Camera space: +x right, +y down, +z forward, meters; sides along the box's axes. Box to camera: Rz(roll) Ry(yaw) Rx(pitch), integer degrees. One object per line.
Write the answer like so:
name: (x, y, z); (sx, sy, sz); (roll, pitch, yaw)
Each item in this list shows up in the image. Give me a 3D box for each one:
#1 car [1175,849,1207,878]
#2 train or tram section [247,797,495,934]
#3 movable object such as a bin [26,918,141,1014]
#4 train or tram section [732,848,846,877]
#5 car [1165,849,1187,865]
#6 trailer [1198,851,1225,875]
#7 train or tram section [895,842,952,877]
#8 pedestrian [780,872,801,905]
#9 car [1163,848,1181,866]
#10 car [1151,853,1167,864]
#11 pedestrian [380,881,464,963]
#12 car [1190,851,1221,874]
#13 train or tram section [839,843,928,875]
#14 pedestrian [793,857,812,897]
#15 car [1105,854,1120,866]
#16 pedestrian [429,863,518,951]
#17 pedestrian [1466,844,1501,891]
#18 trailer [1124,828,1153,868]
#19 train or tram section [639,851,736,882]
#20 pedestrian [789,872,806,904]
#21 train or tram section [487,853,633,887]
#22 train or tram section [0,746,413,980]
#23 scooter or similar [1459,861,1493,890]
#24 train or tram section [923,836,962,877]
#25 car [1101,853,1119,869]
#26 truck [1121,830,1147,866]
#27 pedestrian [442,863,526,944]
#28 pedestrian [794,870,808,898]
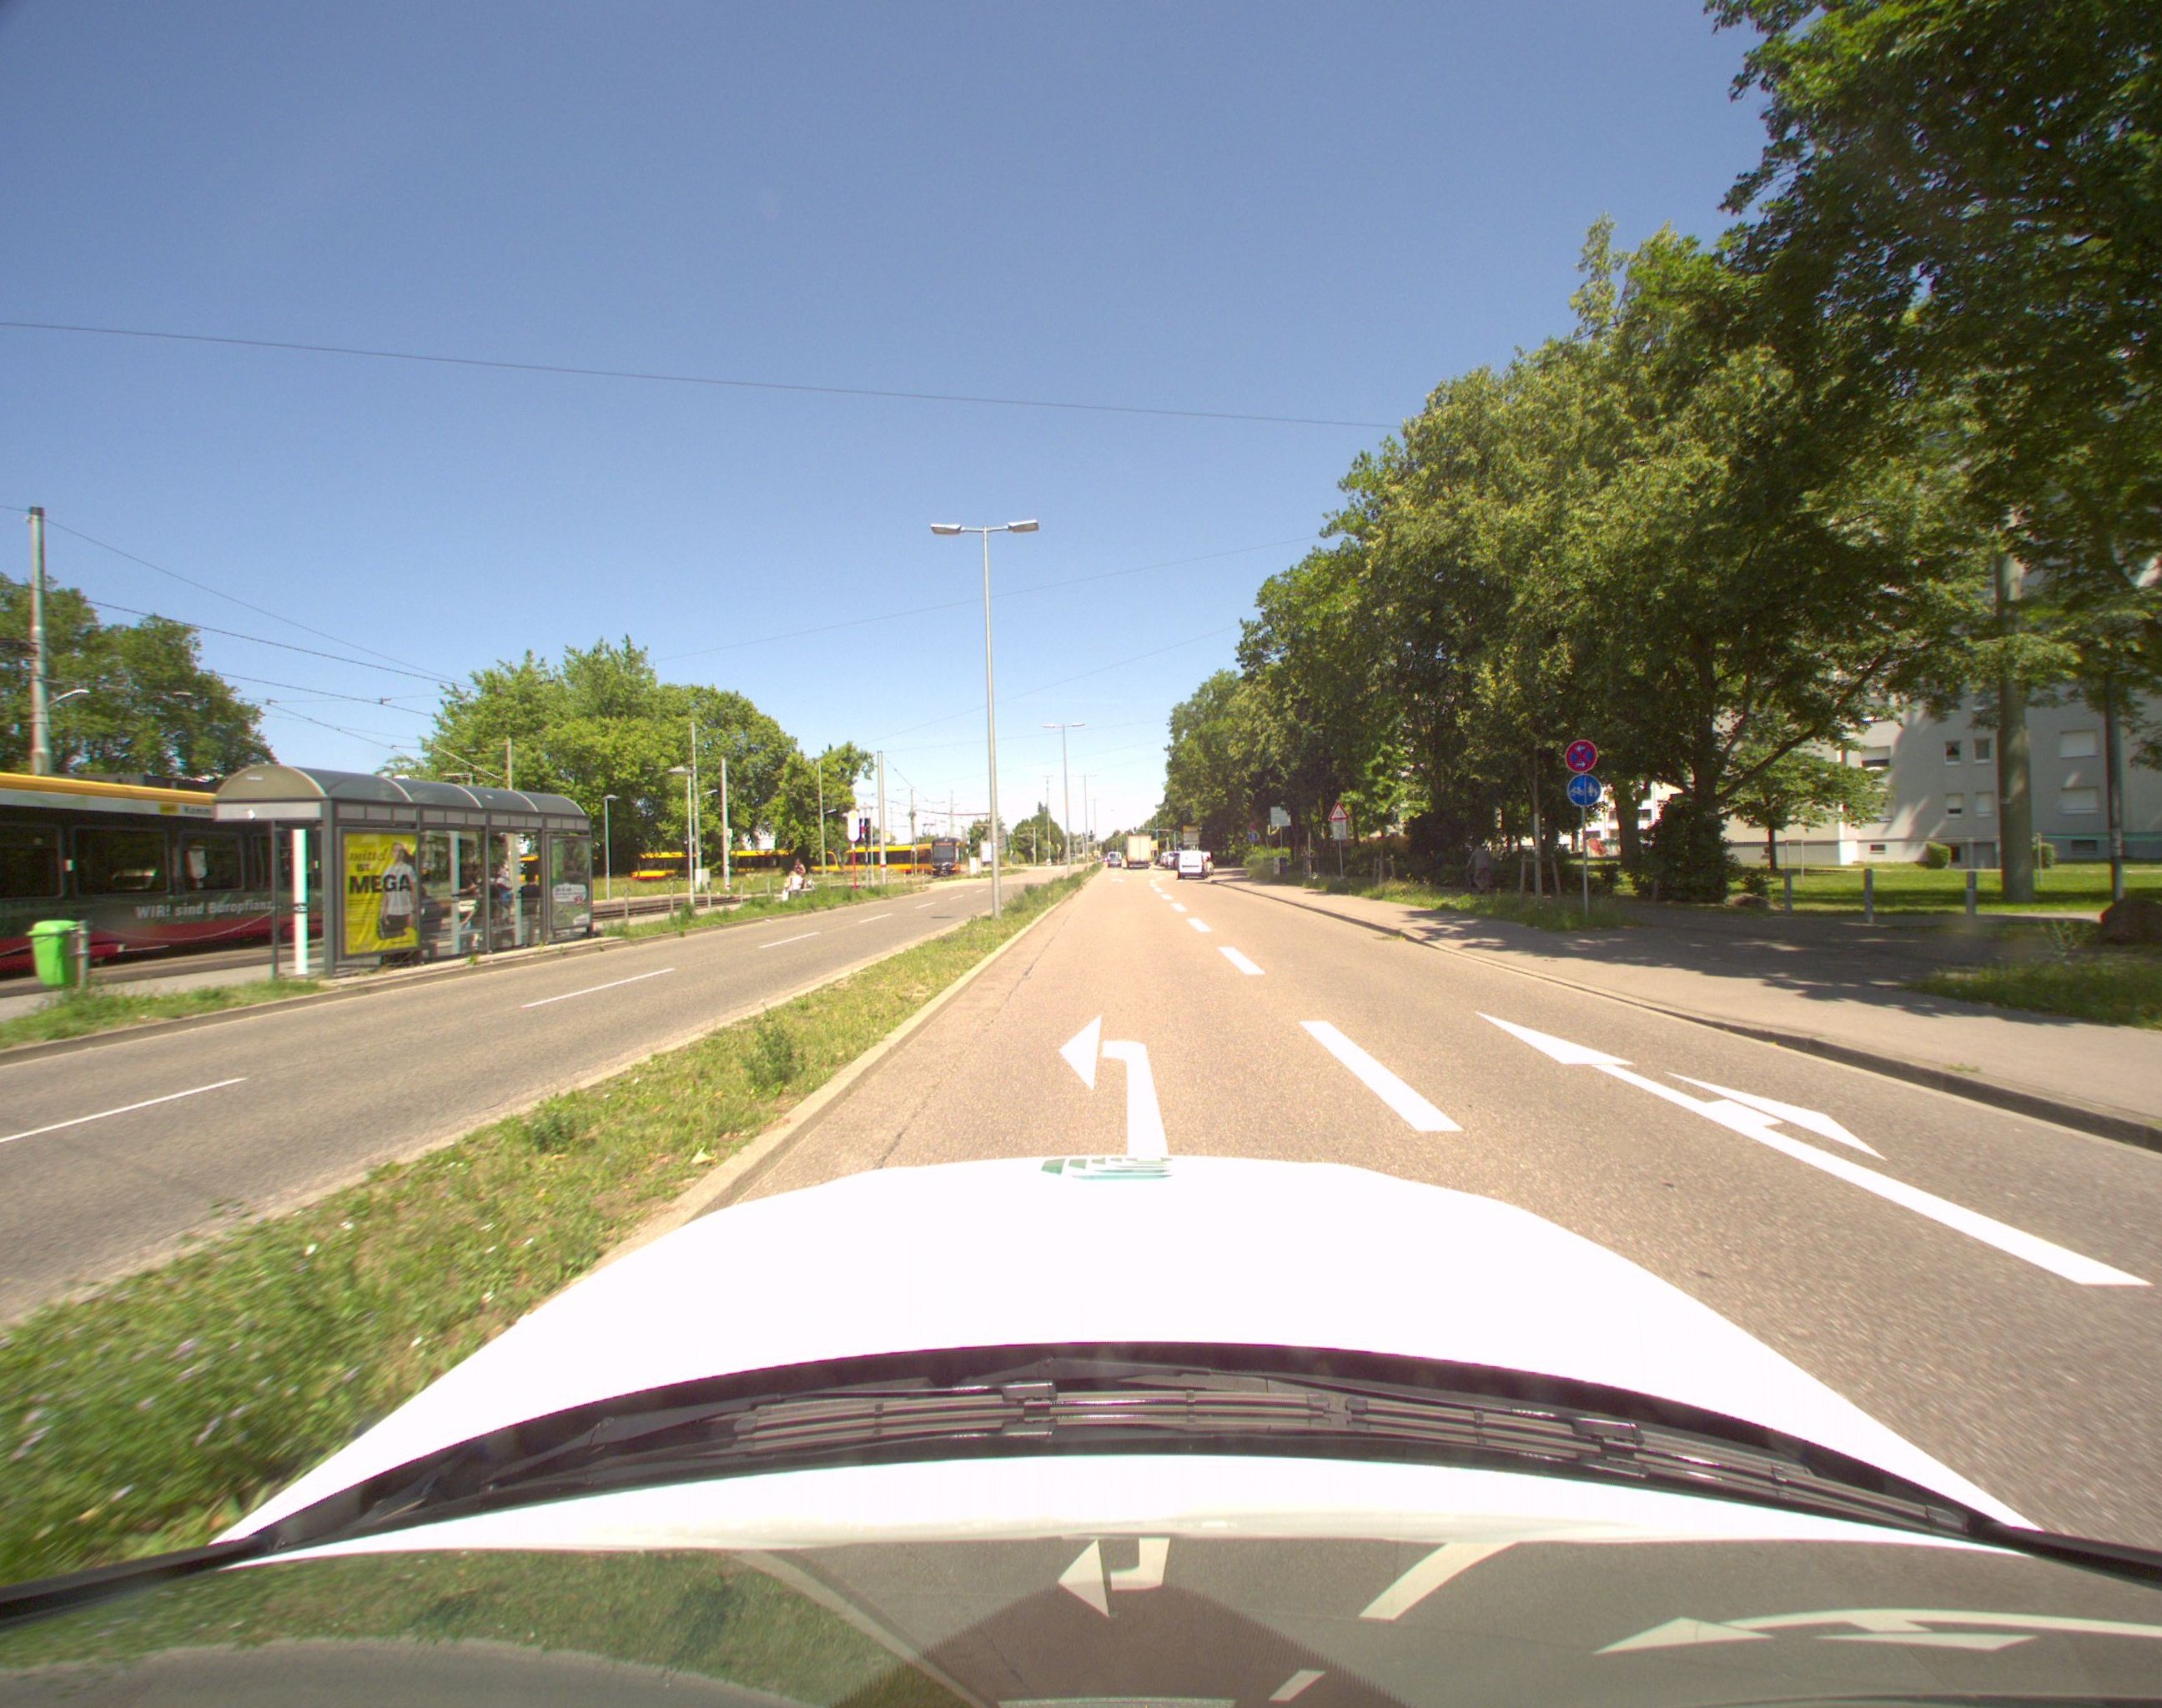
car: (6.951, 0.570, 51.725); (1.702, 1.747, 4.432); (0, 0, 4)
train or tram section: (-23.221, 0.292, 27.718); (3.059, 3.624, 12.348); (0, 0, -25)
movable object such as a bin: (-11.249, 1.244, 9.204); (0.480, 0.978, 0.644); (-1, 0, -2)
train or tram section: (-35.517, 1.032, 99.474); (12.685, 3.466, 3.042); (0, 0, -5)
car: (9.601, 0.309, 82.901); (1.851, 1.549, 3.888); (0, 0, 1)
trailer: (9.194, 0.599, 57.374); (1.464, 1.669, 2.856); (0, 0, 1)
train or tram section: (-16.960, 0.551, 86.906); (3.054, 3.466, 10.129); (0, 0, -29)
pedestrian: (-10.820, 1.270, 30.345); (0.578, 1.189, 0.536); (0, 0, 2)
car: (11.198, 0.349, 100.066); (1.884, 2.121, 3.888); (0, 0, 1)
car: (10.461, 0.616, 109.725); (1.985, 1.437, 4.254); (-1, 1, 3)
pedestrian: (-10.818, 1.095, 13.393); (0.699, 1.283, 0.840); (0, 0, 0)
car: (9.288, 0.608, 61.049); (1.693, 1.654, 4.399); (0, 0, 1)
train or tram section: (-23.388, 0.565, 95.869); (12.586, 3.466, 3.065); (0, 0, 38)
pedestrian: (-10.887, 0.898, 31.799); (0.533, 1.565, 0.582); (0, 0, 1)
car: (4.067, 0.768, 104.462); (1.885, 1.372, 4.431); (1, -2, 2)
pedestrian: (-11.202, 0.948, 15.062); (0.871, 1.546, 1.026); (0, 0, 0)
pedestrian: (12.160, 0.410, 24.603); (0.705, 1.398, 0.763); (0, 0, 3)
trailer: (6.479, -0.675, 93.174); (2.817, 4.421, 8.750); (0, 0, 1)
train or tram section: (-46.801, 1.419, 97.054); (10.254, 3.466, 3.017); (0, 0, -30)
pedestrian: (-10.738, 1.272, 30.843); (0.492, 1.189, 0.400); (0, 0, 0)
train or tram section: (-56.693, 1.594, 89.262); (3.007, 3.466, 13.350); (0, 0, 35)
train or tram section: (-19.163, 0.144, 16.696); (3.046, 3.624, 12.401); (0, 0, -12)
scooter or similar: (12.210, 0.661, 25.172); (0.705, 0.893, 0.763); (0, 0, 3)
train or tram section: (-13.009, 0.193, 75.572); (3.039, 3.466, 13.237); (0, 0, -12)
car: (3.966, 0.914, 111.458); (1.989, 2.111, 4.743); (-1, 1, -3)
truck: (6.598, -0.737, 101.654); (2.817, 4.344, 8.286); (0, 1, 1)
pedestrian: (-11.849, 0.962, 16.188); (0.927, 1.546, 0.985); (0, 0, 0)
pedestrian: (-10.752, 1.133, 31.301); (0.381, 1.058, 0.377); (0, 0, 0)
